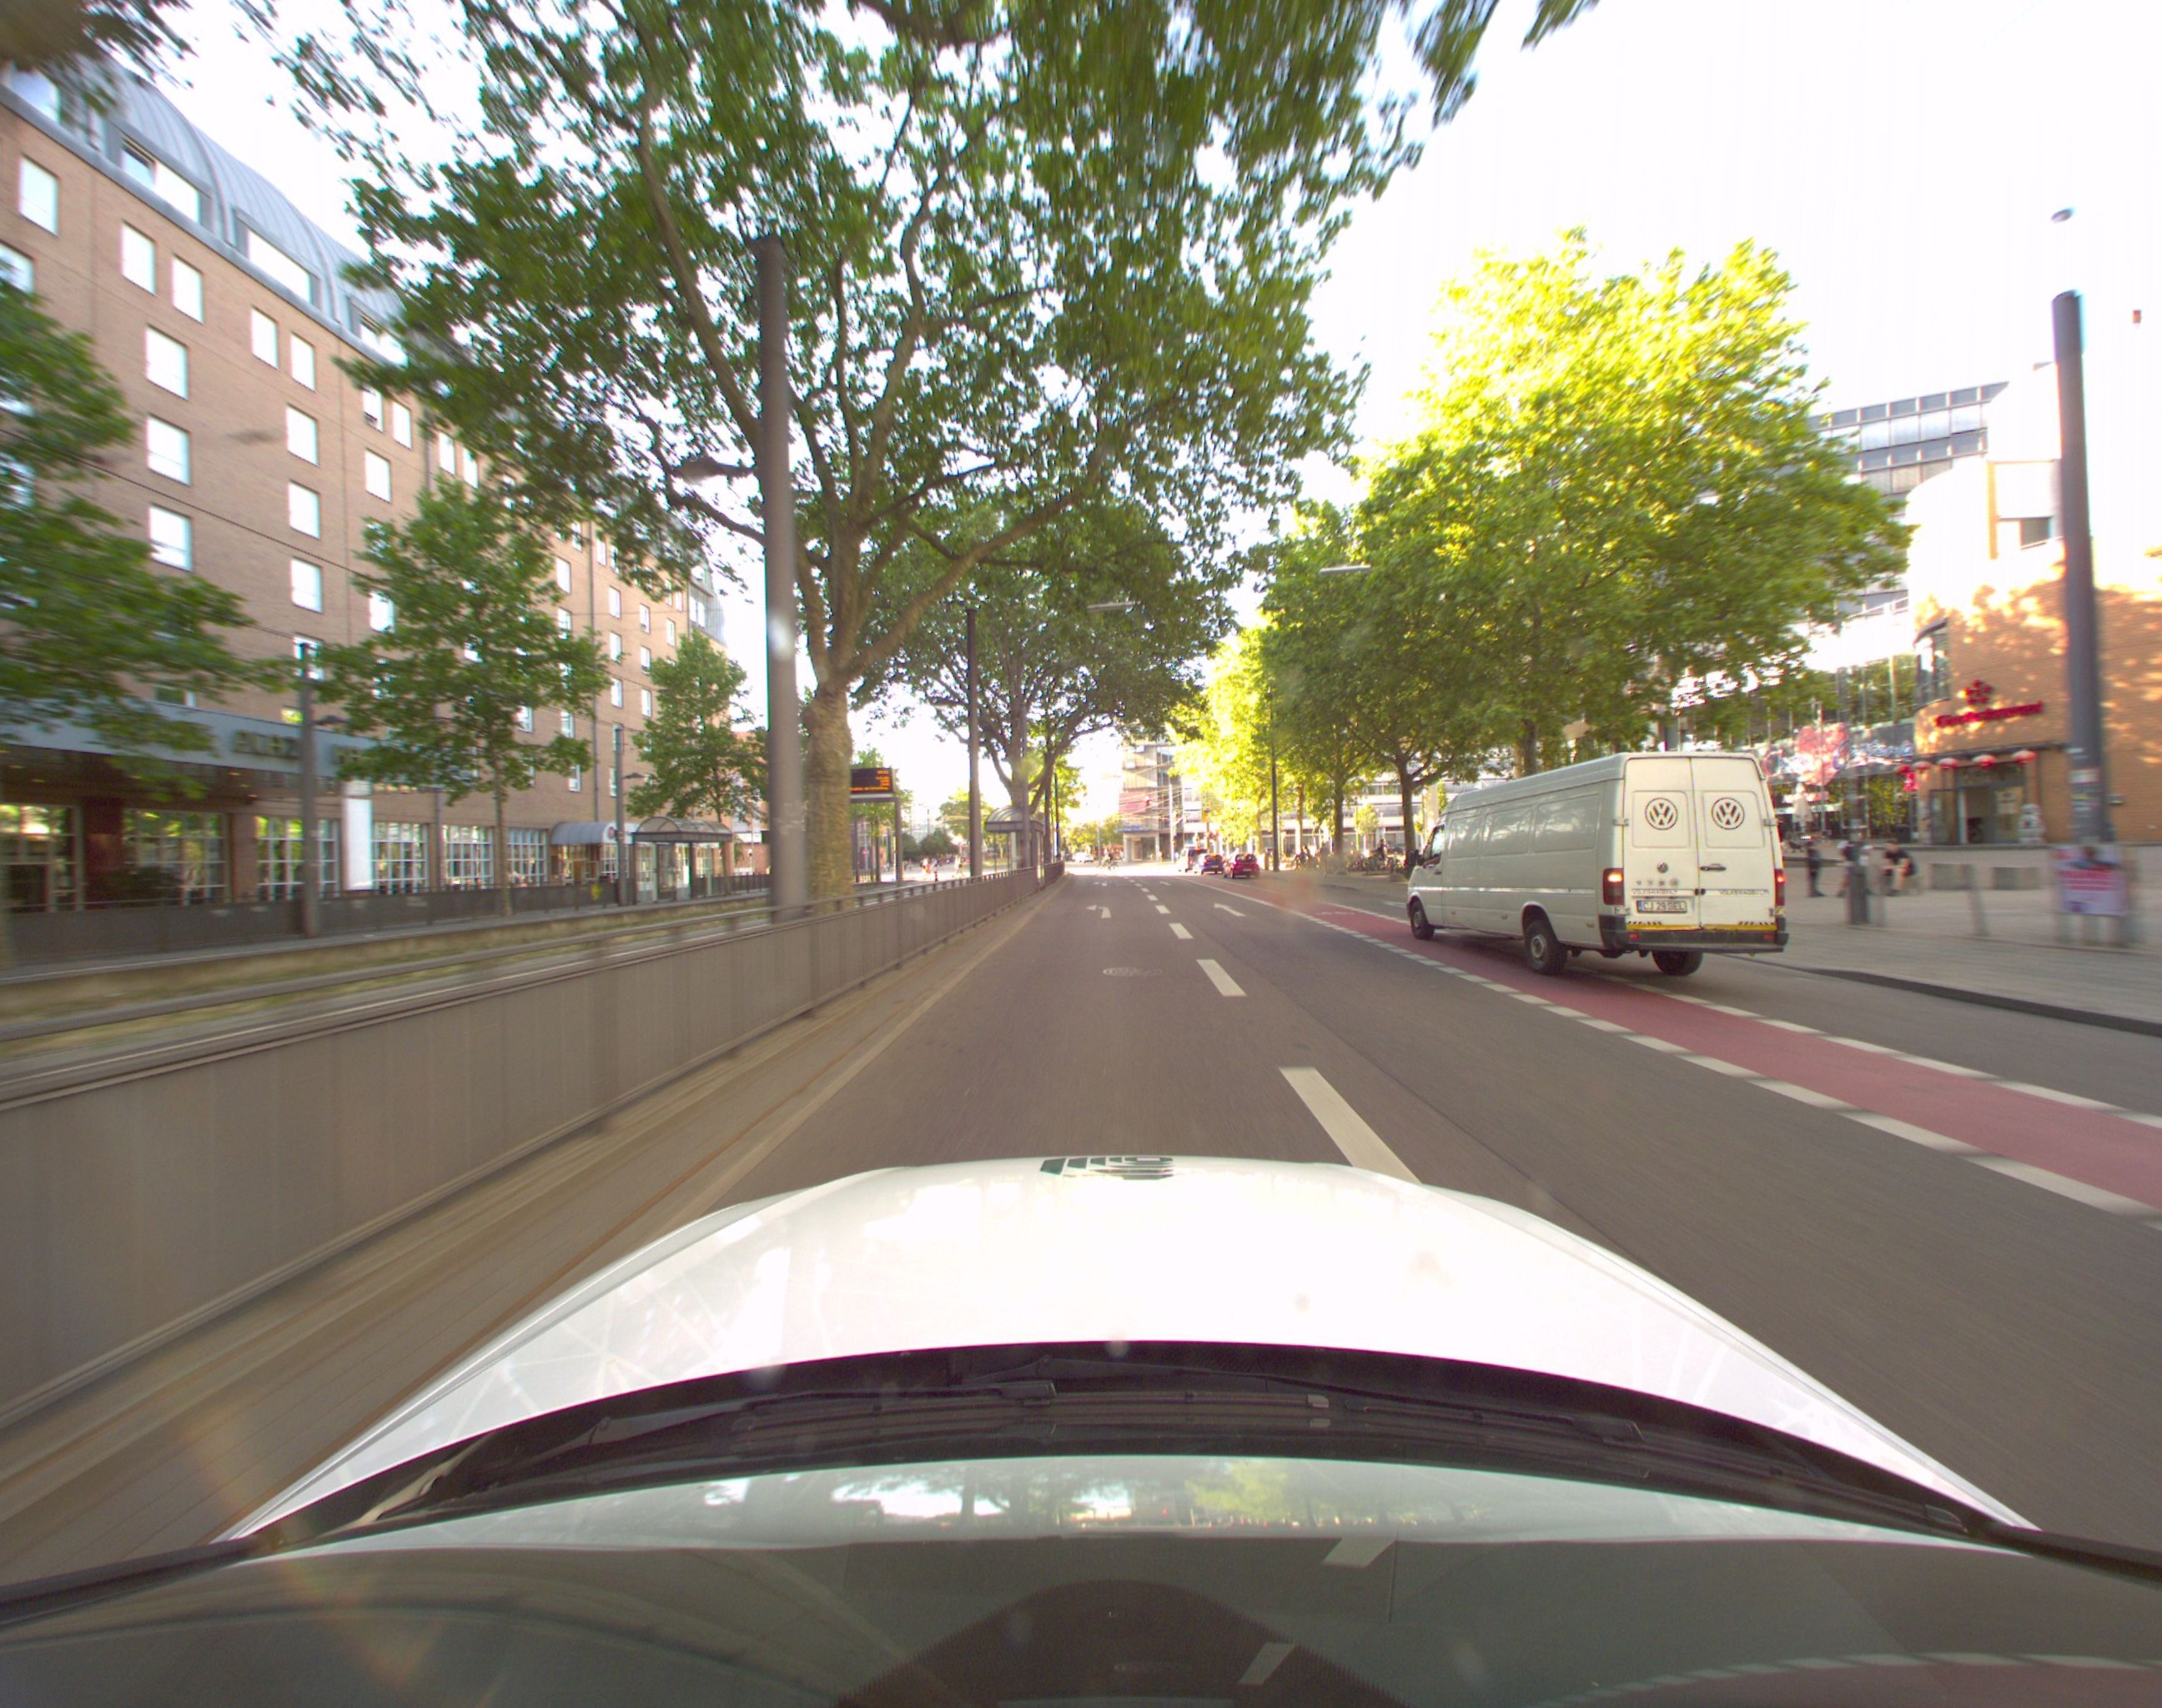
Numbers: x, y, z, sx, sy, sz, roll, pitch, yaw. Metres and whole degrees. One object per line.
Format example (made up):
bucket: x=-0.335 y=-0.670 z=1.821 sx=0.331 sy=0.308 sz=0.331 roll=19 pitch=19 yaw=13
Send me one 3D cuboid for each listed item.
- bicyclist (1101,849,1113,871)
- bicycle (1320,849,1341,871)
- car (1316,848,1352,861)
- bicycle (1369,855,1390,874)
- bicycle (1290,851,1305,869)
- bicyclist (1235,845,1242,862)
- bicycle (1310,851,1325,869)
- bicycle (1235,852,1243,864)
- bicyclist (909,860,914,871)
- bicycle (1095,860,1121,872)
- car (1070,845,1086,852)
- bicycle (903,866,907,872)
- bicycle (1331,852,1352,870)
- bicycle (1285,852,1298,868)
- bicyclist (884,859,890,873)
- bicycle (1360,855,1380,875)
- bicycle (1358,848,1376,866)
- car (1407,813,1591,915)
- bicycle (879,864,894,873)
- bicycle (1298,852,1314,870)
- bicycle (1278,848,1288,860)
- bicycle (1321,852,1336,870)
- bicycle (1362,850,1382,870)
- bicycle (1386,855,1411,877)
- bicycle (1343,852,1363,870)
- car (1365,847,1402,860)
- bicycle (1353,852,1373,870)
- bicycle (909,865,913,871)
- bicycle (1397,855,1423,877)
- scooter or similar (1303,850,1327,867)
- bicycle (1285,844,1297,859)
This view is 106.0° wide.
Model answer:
bicyclist: x=2.202 y=0.508 z=68.508 sx=0.847 sy=1.785 sz=0.752 roll=-2 pitch=0 yaw=-3
bicycle: x=14.716 y=0.329 z=48.062 sx=0.594 sy=1.264 sz=1.875 roll=-2 pitch=0 yaw=-2
car: x=34.025 y=0.090 z=109.537 sx=4.221 sy=1.560 sz=1.797 roll=-2 pitch=0 yaw=4
bicycle: x=15.291 y=0.525 z=41.697 sx=0.449 sy=0.980 sz=1.763 roll=-2 pitch=0 yaw=2
bicycle: x=14.346 y=0.377 z=53.908 sx=0.590 sy=1.116 sz=1.837 roll=-2 pitch=0 yaw=26
bicyclist: x=15.212 y=-0.028 z=78.567 sx=0.559 sy=1.616 sz=0.823 roll=-2 pitch=0 yaw=5
bicycle: x=15.354 y=0.376 z=52.910 sx=0.590 sy=1.116 sz=1.837 roll=-2 pitch=0 yaw=26
bicycle: x=15.225 y=0.359 z=78.591 sx=0.563 sy=1.126 sz=1.781 roll=-2 pitch=0 yaw=5
bicyclist: x=-26.527 y=1.738 z=127.433 sx=0.593 sy=1.675 sz=0.787 roll=-2 pitch=0 yaw=-8
bicycle: x=2.269 y=1.045 z=68.505 sx=2.172 sy=0.933 sz=0.667 roll=-2 pitch=0 yaw=-4
car: x=-0.697 y=-1.352 z=204.087 sx=3.735 sy=1.750 sz=1.788 roll=-1 pitch=-1 yaw=13
bicycle: x=-27.417 y=2.301 z=127.032 sx=0.512 sy=0.881 sz=1.833 roll=-2 pitch=0 yaw=-9
bicycle: x=15.393 y=0.434 z=48.155 sx=0.594 sy=1.032 sz=1.654 roll=-2 pitch=0 yaw=-2
bicycle: x=14.875 y=0.415 z=57.580 sx=0.625 sy=1.057 sz=1.574 roll=-2 pitch=0 yaw=5
bicyclist: x=-28.377 y=1.704 z=119.112 sx=0.565 sy=2.060 sz=0.446 roll=-2 pitch=-1 yaw=-37
bicycle: x=14.758 y=0.527 z=41.609 sx=0.449 sy=0.980 sz=1.763 roll=-2 pitch=0 yaw=2
bicycle: x=18.715 y=0.209 z=53.309 sx=0.420 sy=1.159 sz=1.471 roll=-2 pitch=0 yaw=-10
car: x=10.080 y=0.219 z=20.245 sx=2.114 sy=2.134 sz=5.295 roll=-2 pitch=0 yaw=4
bicycle: x=-28.410 y=2.178 z=119.072 sx=2.106 sy=1.239 sz=0.448 roll=-2 pitch=0 yaw=-38
bicycle: x=14.716 y=0.422 z=53.167 sx=0.590 sy=1.116 sz=1.961 roll=-2 pitch=0 yaw=26
bicycle: x=17.333 y=0.011 z=69.914 sx=0.449 sy=0.983 sz=1.475 roll=-2 pitch=0 yaw=-3
bicycle: x=16.016 y=0.442 z=52.660 sx=0.601 sy=1.116 sz=1.837 roll=-2 pitch=0 yaw=26
bicycle: x=17.255 y=0.352 z=48.272 sx=0.500 sy=1.137 sz=1.654 roll=-2 pitch=0 yaw=-2
bicycle: x=14.298 y=0.532 z=36.747 sx=0.449 sy=0.980 sz=1.763 roll=-2 pitch=0 yaw=2
bicycle: x=16.093 y=0.431 z=48.217 sx=0.594 sy=1.032 sz=1.654 roll=-2 pitch=0 yaw=-2
car: x=40.673 y=-0.097 z=109.543 sx=4.221 sy=1.560 sz=1.797 roll=-2 pitch=0 yaw=4
bicycle: x=16.693 y=0.423 z=48.258 sx=0.500 sy=1.032 sz=1.654 roll=-2 pitch=0 yaw=-2
bicycle: x=-26.613 y=2.252 z=127.367 sx=0.512 sy=0.881 sz=1.833 roll=-2 pitch=0 yaw=-9
bicycle: x=14.848 y=0.529 z=36.802 sx=0.449 sy=0.980 sz=1.763 roll=-2 pitch=0 yaw=2
scooter or similar: x=15.784 y=0.304 z=54.931 sx=1.255 sy=1.142 sz=0.911 roll=1 pitch=-3 yaw=-15
bicycle: x=18.086 y=-0.186 z=70.120 sx=0.449 sy=1.286 sz=1.885 roll=-3 pitch=0 yaw=-3
